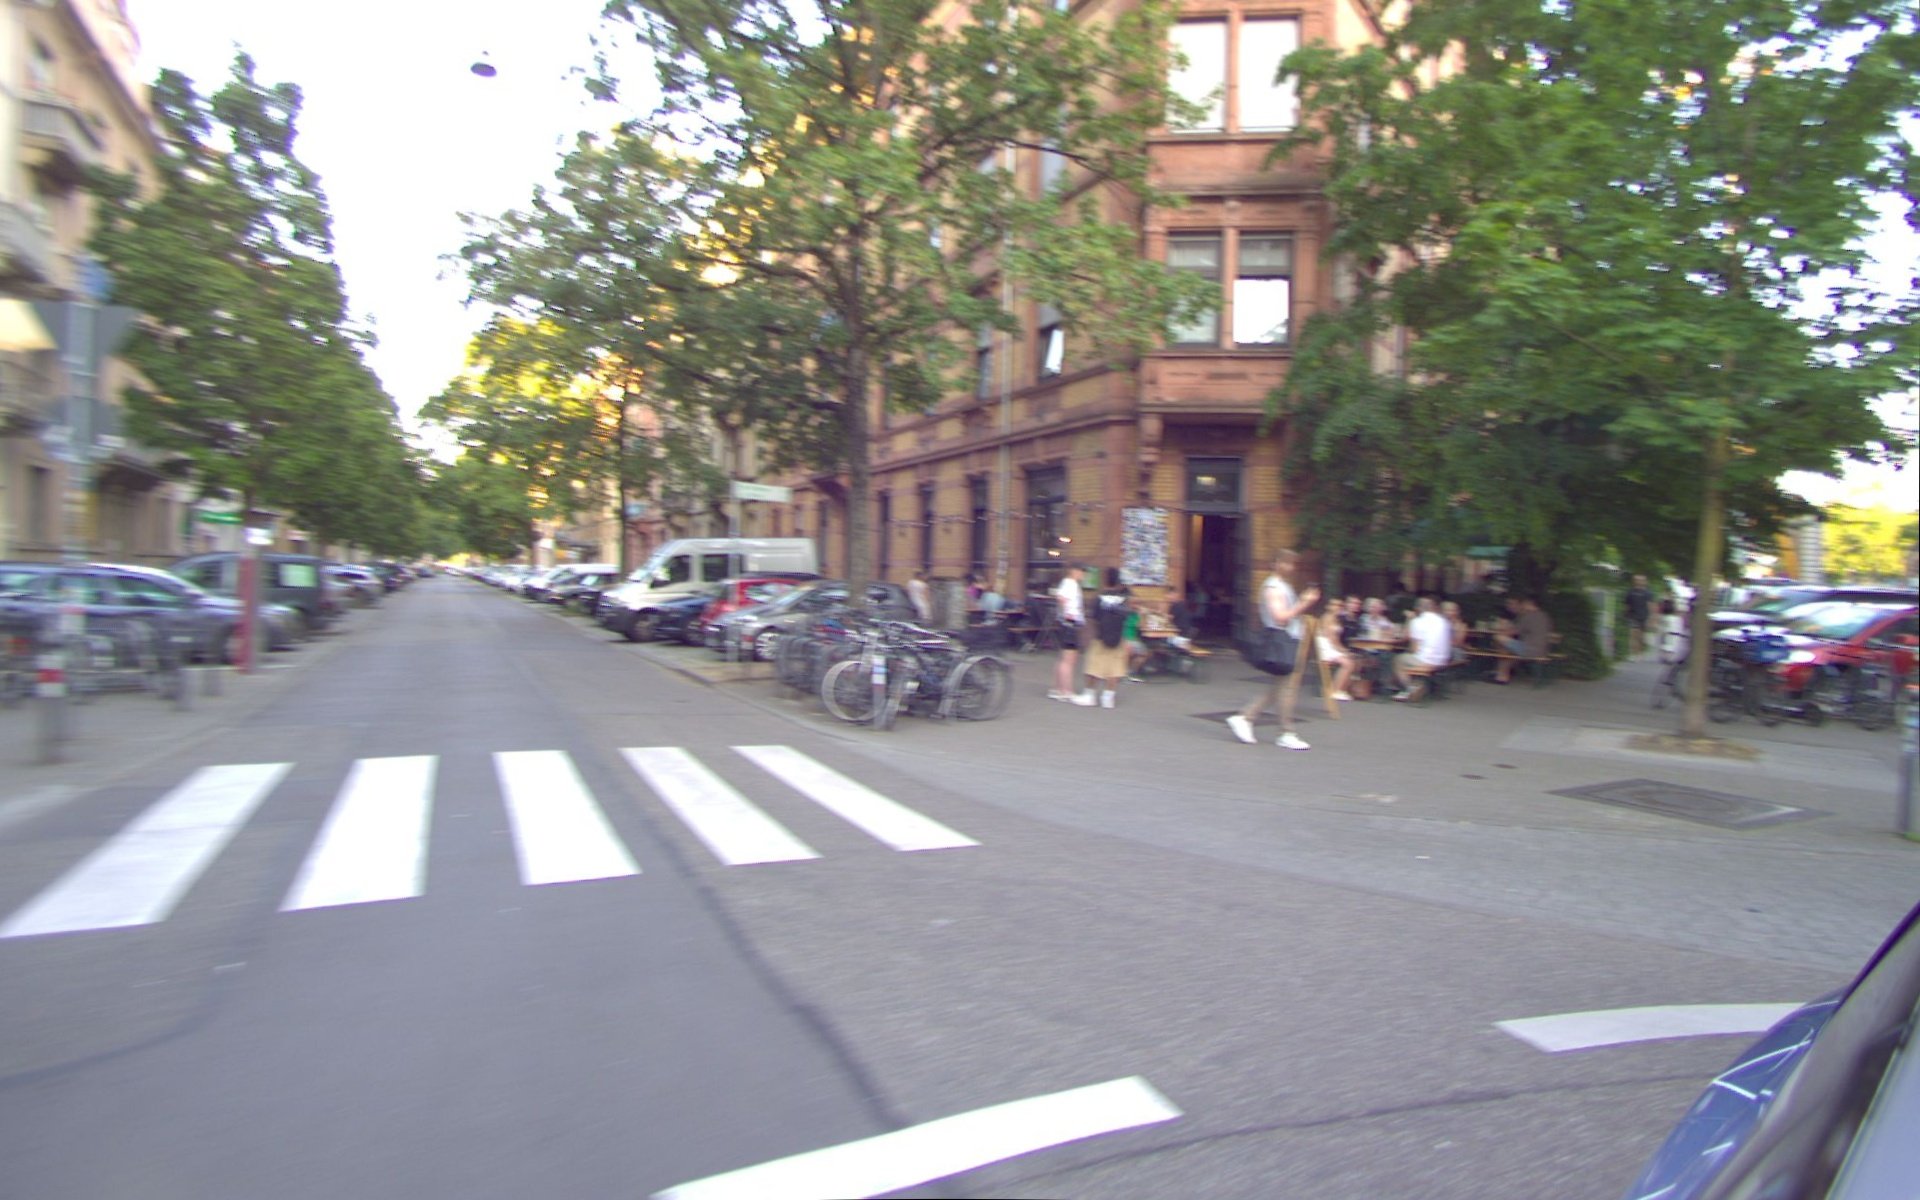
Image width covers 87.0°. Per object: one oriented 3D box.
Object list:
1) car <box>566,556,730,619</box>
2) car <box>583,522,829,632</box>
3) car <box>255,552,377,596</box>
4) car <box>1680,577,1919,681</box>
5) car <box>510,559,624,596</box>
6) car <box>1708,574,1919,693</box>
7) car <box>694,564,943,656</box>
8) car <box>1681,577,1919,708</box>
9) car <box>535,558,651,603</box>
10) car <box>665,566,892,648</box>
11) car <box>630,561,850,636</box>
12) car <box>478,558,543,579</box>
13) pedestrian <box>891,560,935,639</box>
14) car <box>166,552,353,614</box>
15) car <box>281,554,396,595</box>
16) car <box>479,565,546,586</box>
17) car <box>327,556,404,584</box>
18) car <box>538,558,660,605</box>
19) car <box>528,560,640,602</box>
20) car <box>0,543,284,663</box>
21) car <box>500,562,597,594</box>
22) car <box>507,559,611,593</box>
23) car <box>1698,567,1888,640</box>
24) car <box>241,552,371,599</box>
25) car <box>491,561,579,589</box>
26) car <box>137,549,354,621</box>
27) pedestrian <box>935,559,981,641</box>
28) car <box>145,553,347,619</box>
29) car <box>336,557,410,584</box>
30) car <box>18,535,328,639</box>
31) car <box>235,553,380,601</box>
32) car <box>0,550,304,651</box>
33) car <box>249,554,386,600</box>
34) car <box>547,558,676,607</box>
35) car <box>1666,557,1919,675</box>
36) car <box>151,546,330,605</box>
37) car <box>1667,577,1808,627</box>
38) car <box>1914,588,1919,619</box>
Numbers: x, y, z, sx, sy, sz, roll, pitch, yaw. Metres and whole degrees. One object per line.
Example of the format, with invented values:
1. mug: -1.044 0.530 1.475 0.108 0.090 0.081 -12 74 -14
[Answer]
1. car: -9.498 -0.395 30.851 4.453 1.807 2.003 -1 1 -28
2. car: -6.184 -0.562 24.831 5.432 2.451 2.248 -1 1 -30
3. car: -30.067 -1.192 47.369 1.992 1.957 4.476 0 1 42
4. car: 16.326 0.536 18.903 4.150 1.642 1.932 4 2 5
5. car: -19.672 -1.132 50.728 5.094 1.807 2.003 -1 1 -28
6. car: 15.252 0.580 16.757 4.144 1.708 1.934 4 2 0
7. car: -2.628 0.124 18.829 4.205 1.545 1.914 -1 1 -26
8. car: 12.949 0.603 14.384 3.979 1.648 1.690 3 1 6
9. car: -15.692 -0.836 43.319 4.453 1.807 2.003 -1 1 -28
10. car: -3.706 0.094 20.719 4.205 1.545 1.914 -1 1 -26
11. car: -4.896 -0.074 22.589 4.451 1.545 2.003 -1 1 -26
12. car: -39.923 -2.818 89.894 5.094 1.807 2.003 -1 1 -28
13. pedestrian: -1.034 -0.025 22.213 0.731 1.698 0.768 0 1 -23
14. car: -22.107 -0.552 32.150 1.980 1.807 4.503 0 1 26
15. car: -30.711 -1.239 50.095 1.992 1.957 4.476 0 1 42
16. car: -38.599 -2.093 87.334 5.094 1.807 2.003 -1 1 -28
17. car: -42.529 -2.114 72.441 4.465 1.957 1.997 -1 1 -40
18. car: -14.699 -0.757 41.245 4.453 1.807 2.003 -1 1 -28
19. car: -16.801 -0.867 45.278 4.453 1.807 2.003 -1 1 -28
20. car: -12.701 0.016 14.664 1.979 1.545 4.506 0 1 25
21. car: -24.330 -1.313 59.859 5.094 1.807 2.003 -1 1 -28
22. car: -22.036 -1.296 55.660 5.094 1.807 2.003 -1 1 -28
23. car: 30.164 0.088 36.831 4.863 2.391 1.993 2 1 12
24. car: -28.647 -1.052 44.425 1.992 1.957 4.476 0 1 42
25. car: -27.815 -1.633 66.266 5.094 1.807 2.003 -1 1 -28
26. car: -19.426 -0.412 27.760 1.978 1.807 4.507 0 1 24
27. pedestrian: -0.037 -0.017 21.528 0.731 1.698 0.768 0 1 -23
28. car: -20.911 -0.423 29.856 1.980 1.807 4.503 0 1 26
29. car: -43.567 -2.159 75.187 4.465 1.957 1.997 -1 1 -40
30. car: -15.303 -0.268 19.914 1.989 1.807 4.484 0 1 37
31. car: -25.804 -0.913 40.139 1.992 1.807 4.476 0 1 42
32. car: -14.151 -0.029 17.486 4.468 1.545 1.996 -1 1 -43
33. car: -26.899 -0.950 42.468 1.992 1.807 4.476 0 1 42
34. car: -13.530 -0.681 39.337 4.453 1.807 2.003 -1 1 -28
35. car: 18.151 0.338 21.093 5.334 2.098 1.934 4 2 0
36. car: -23.954 -0.808 33.885 1.980 1.807 4.503 0 1 26
37. car: 37.067 0.062 48.444 5.163 1.979 1.873 5 2 37
38. car: 59.849 0.247 61.606 1.922 1.906 4.841 1 1 36
